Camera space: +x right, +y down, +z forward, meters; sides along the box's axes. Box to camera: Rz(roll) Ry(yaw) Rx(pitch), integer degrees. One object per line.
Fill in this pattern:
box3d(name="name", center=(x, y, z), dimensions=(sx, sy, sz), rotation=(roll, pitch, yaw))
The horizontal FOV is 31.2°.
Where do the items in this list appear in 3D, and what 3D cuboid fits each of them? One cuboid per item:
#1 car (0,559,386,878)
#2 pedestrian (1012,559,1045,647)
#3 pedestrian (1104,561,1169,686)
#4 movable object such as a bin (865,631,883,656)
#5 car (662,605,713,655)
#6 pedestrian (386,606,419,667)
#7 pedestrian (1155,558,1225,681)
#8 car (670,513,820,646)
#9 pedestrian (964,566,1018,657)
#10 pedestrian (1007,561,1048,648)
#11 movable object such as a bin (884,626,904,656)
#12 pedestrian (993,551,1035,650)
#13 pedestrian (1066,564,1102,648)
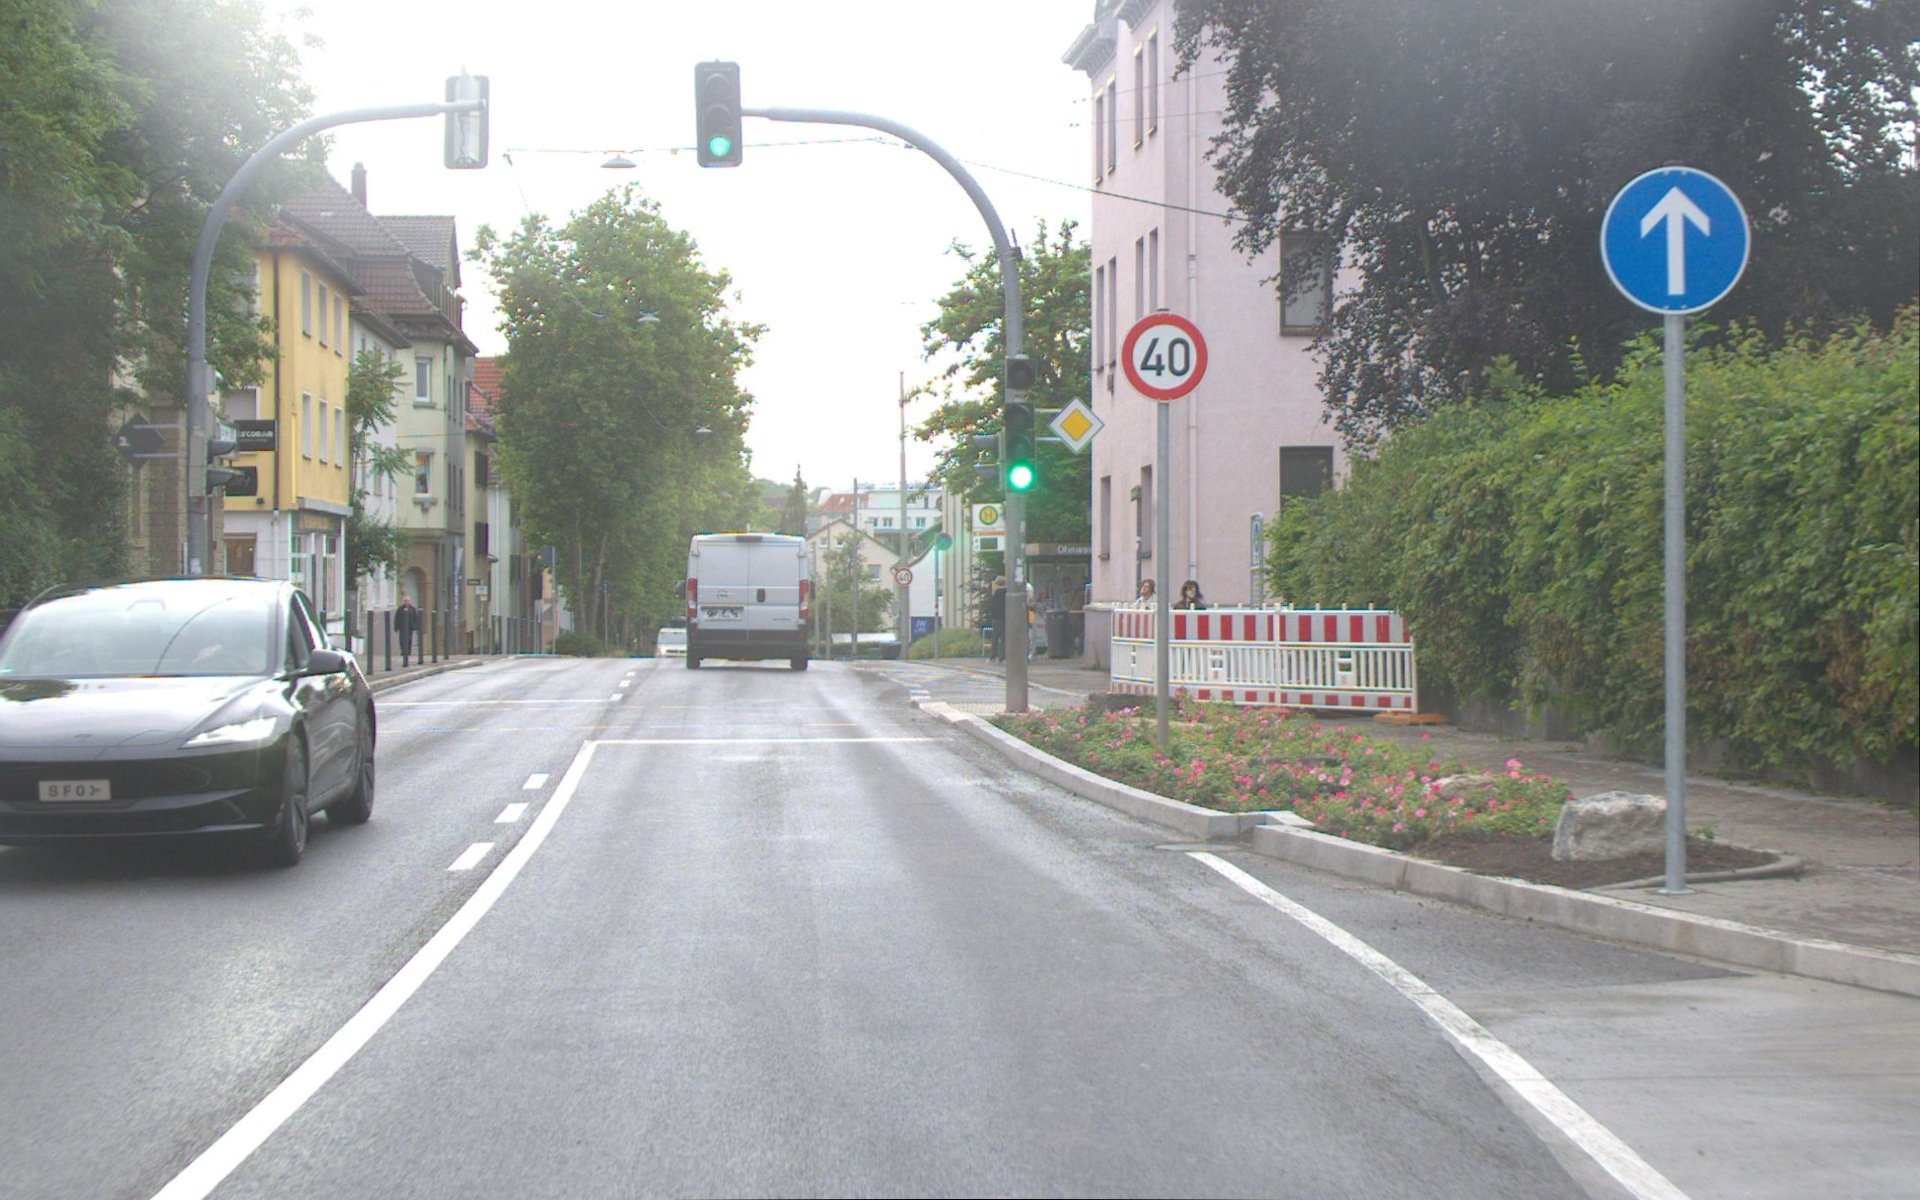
box3d(name="car", center=(-4.163, 0.523, 18.140), dimensions=(1.783, 1.447, 4.390), rotation=(0, 1, -4))
box3d(name="pedestrian", center=(1.339, 0.058, 67.101), dimensions=(0.446, 1.702, 0.557), rotation=(-3, 0, 15))
box3d(name="pedestrian", center=(2.348, 0.314, 45.824), dimensions=(0.784, 1.636, 1.222), rotation=(1, 0, 0))
box3d(name="movable object such as a bin", center=(-3.279, 1.653, 130.574), dimensions=(0.619, 0.933, 0.686), rotation=(-3, -1, -3))
box3d(name="car", center=(-10.606, 1.187, 133.927), dimensions=(1.881, 1.863, 4.453), rotation=(-1, -1, -4))
box3d(name="pedestrian", center=(-15.371, 1.010, 94.735), dimensions=(0.815, 1.674, 0.993), rotation=(1, -1, -6))
box3d(name="pedestrian", center=(2.970, 0.249, 44.441), dimensions=(0.875, 1.555, 1.049), rotation=(1, 0, 4))
box3d(name="car", center=(-3.705, -0.352, 58.505), dimensions=(2.346, 2.153, 4.778), rotation=(0, 0, -6))
box3d(name="pedestrian", center=(0.591, 0.217, 65.832), dimensions=(0.634, 1.704, 0.749), rotation=(-3, 0, -37))
box3d(name="pedestrian", center=(1.365, 0.091, 69.981), dimensions=(0.660, 1.735, 0.829), rotation=(-1, 0, -9))
box3d(name="movable object such as a bin", center=(-2.507, 1.567, 130.781), dimensions=(0.695, 1.078, 0.778), rotation=(-3, -1, -3))
box3d(name="pedestrian", center=(1.038, 0.009, 66.367), dimensions=(0.487, 1.869, 0.632), rotation=(-3, 0, 28))
box3d(name="pedestrian", center=(2.722, 0.130, 75.657), dimensions=(0.647, 1.825, 0.741), rotation=(-1, 0, 10))
